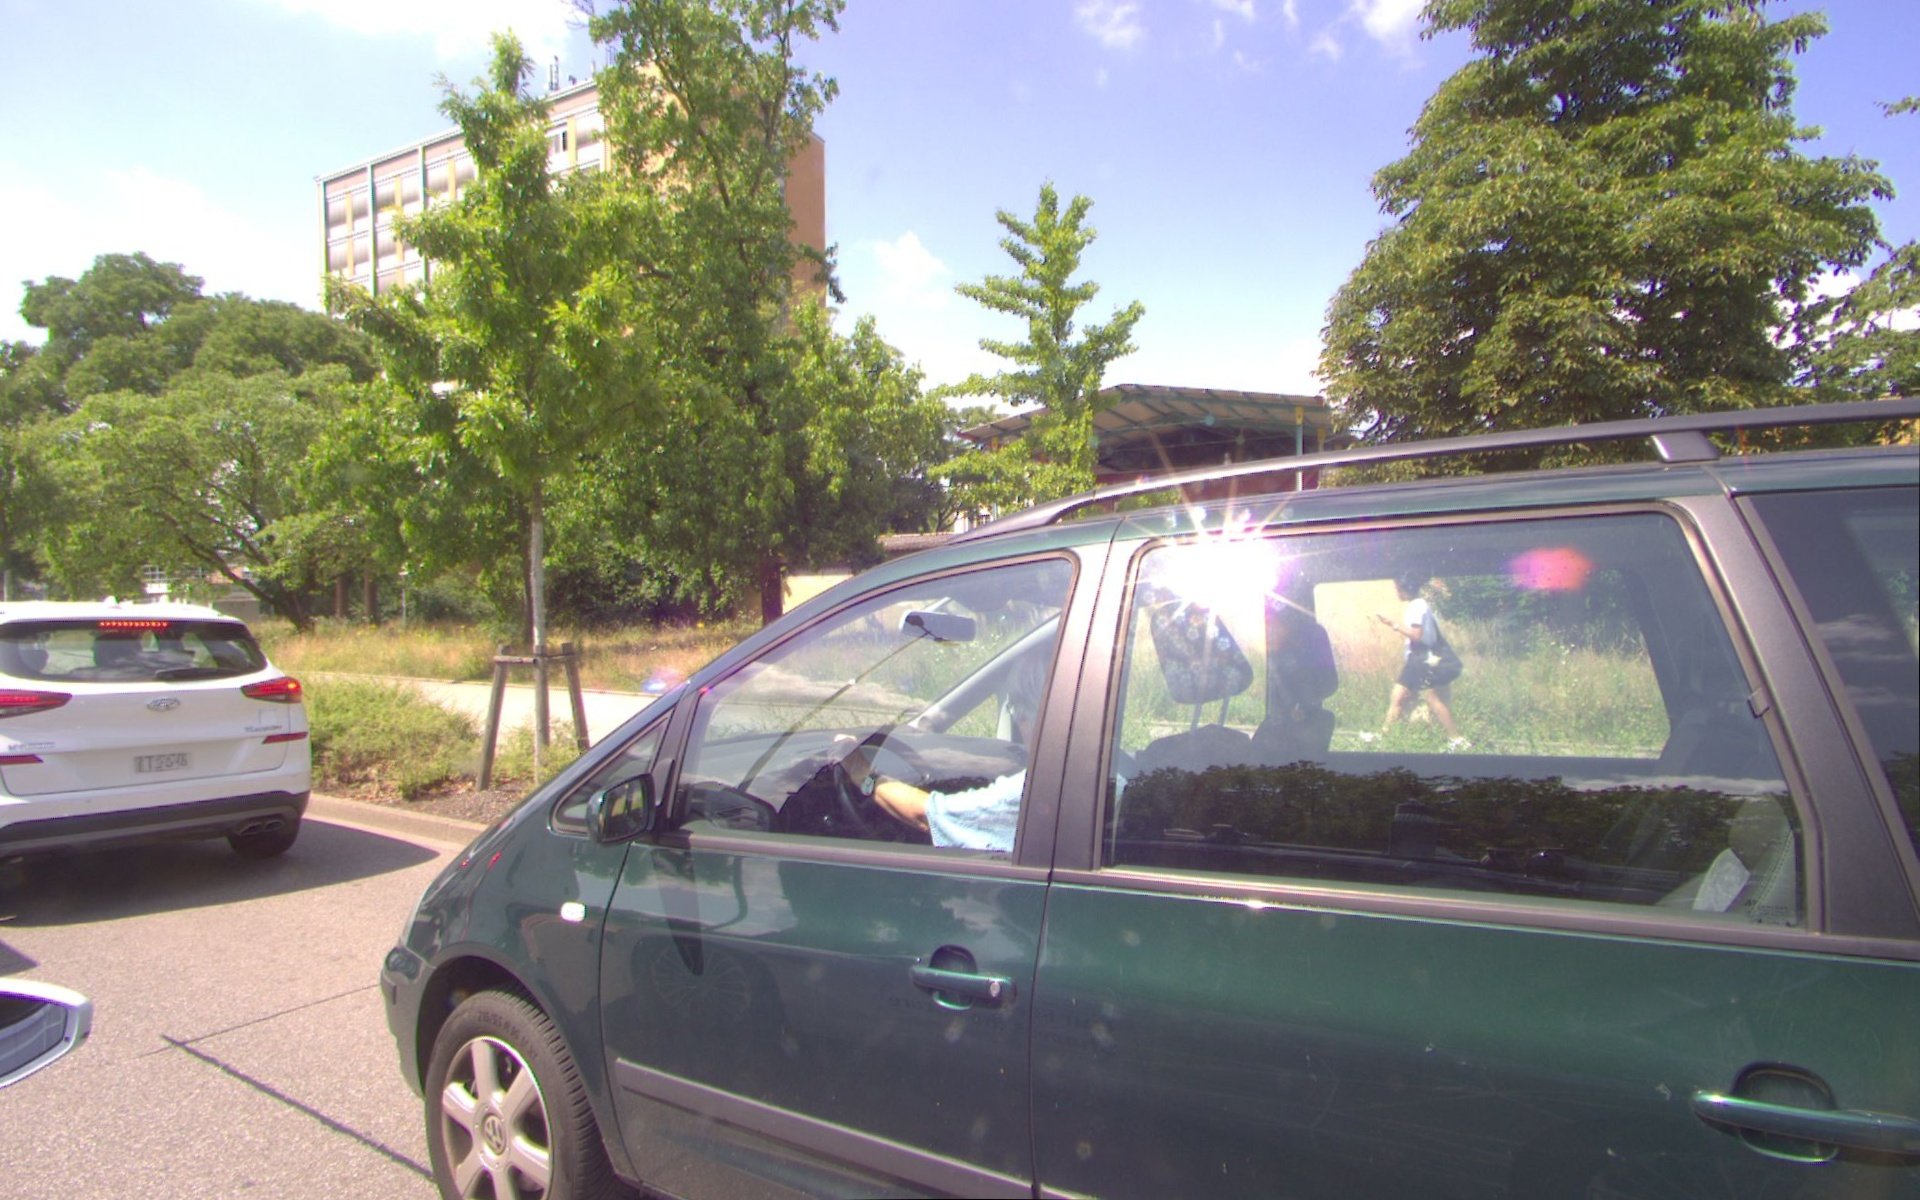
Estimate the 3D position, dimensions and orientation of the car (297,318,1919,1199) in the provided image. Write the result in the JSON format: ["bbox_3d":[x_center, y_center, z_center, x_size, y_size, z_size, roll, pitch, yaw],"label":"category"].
[{"bbox_3d":[0.557,0.629,2.279,4.329,1.737,1.799,0,-2,32],"label":"car"}]

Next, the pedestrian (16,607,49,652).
[{"bbox_3d":[-39.467,1.253,42.628,0.802,1.874,0.759,0,1,22],"label":"pedestrian"}]

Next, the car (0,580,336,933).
[{"bbox_3d":[-5.907,0.766,6.414,3.919,1.701,1.810,0,0,34],"label":"car"}]

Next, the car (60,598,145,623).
[{"bbox_3d":[-98.037,1.251,114.598,2.452,2.751,7.074,-1,-2,19],"label":"car"}]

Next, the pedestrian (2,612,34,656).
[{"bbox_3d":[-36.520,1.325,38.835,0.805,1.677,0.756,0,1,36],"label":"pedestrian"}]

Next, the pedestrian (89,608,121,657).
[{"bbox_3d":[-32.827,1.243,38.466,0.805,1.874,0.756,0,1,36],"label":"pedestrian"}]

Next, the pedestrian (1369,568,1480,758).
[{"bbox_3d":[4.119,0.529,8.867,0.804,1.578,0.757,0,1,32],"label":"pedestrian"}]

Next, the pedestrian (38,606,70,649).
[{"bbox_3d":[-39.426,1.193,43.570,0.803,1.874,0.759,0,1,24],"label":"pedestrian"}]
